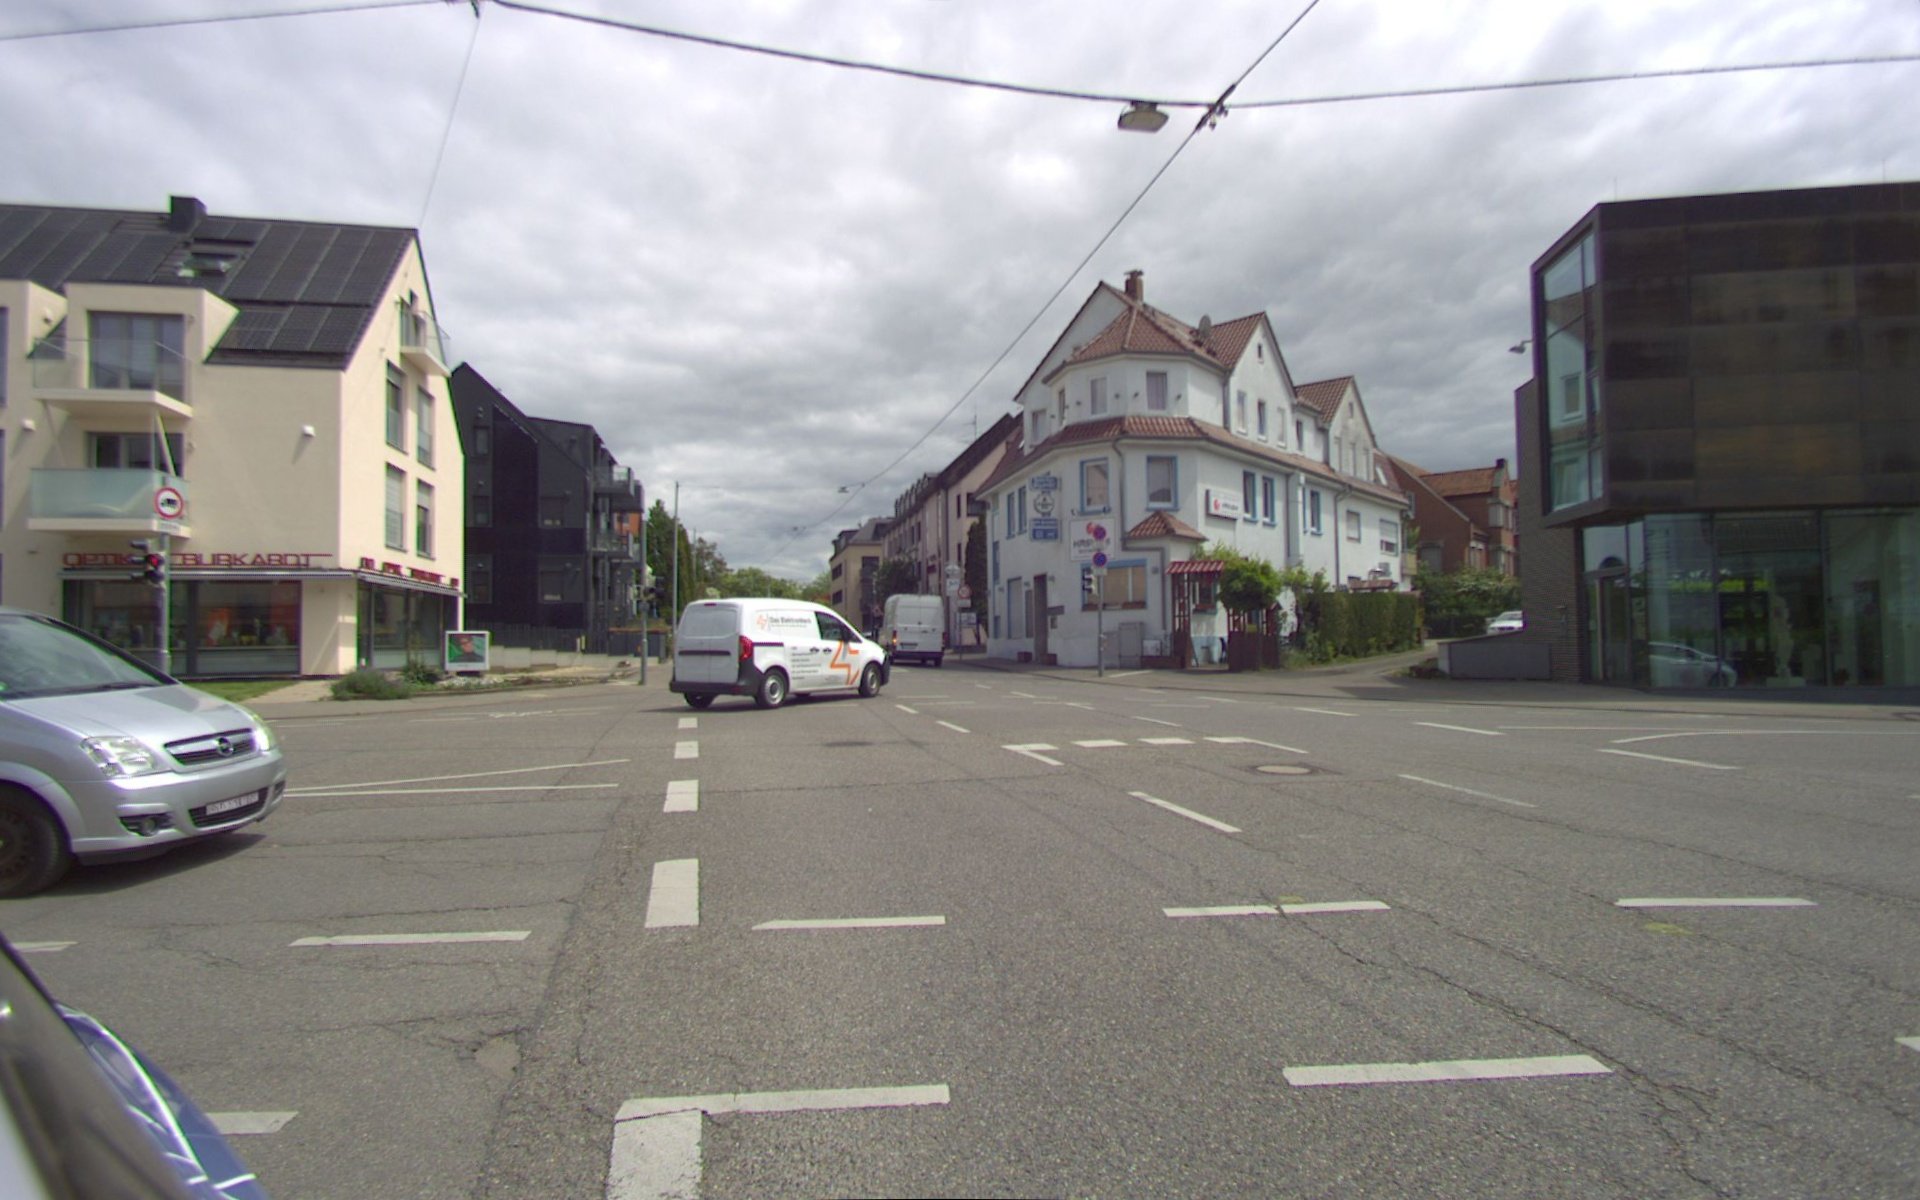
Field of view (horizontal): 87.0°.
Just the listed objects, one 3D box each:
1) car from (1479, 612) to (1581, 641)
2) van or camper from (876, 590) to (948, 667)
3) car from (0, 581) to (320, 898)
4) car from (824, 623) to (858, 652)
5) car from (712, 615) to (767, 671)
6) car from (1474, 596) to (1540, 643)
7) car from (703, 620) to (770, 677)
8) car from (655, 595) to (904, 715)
[{"bbox_3d":[27.536,1.277,48.973,4.002,1.320,1.511,-2,-2,45],"label":"car"},{"bbox_3d":[-1.913,1.127,38.292,2.081,2.606,5.654,2,-3,-8],"label":"van or camper"},{"bbox_3d":[-6.240,0.732,5.832,3.939,1.587,1.778,0,-2,-6],"label":"car"},{"bbox_3d":[-8.867,2.766,75.186,1.966,2.029,4.011,0,-2,-15],"label":"car"},{"bbox_3d":[-8.609,1.633,39.311,1.967,2.029,4.010,0,-2,-13],"label":"car"},{"bbox_3d":[24.996,0.910,46.207,1.997,2.029,3.949,-2,-2,38],"label":"car"},{"bbox_3d":[-7.205,1.503,32.557,1.967,1.697,4.010,0,-1,-13],"label":"car"},{"bbox_3d":[-3.001,0.903,17.738,1.816,1.825,4.369,-2,-2,32],"label":"car"}]
